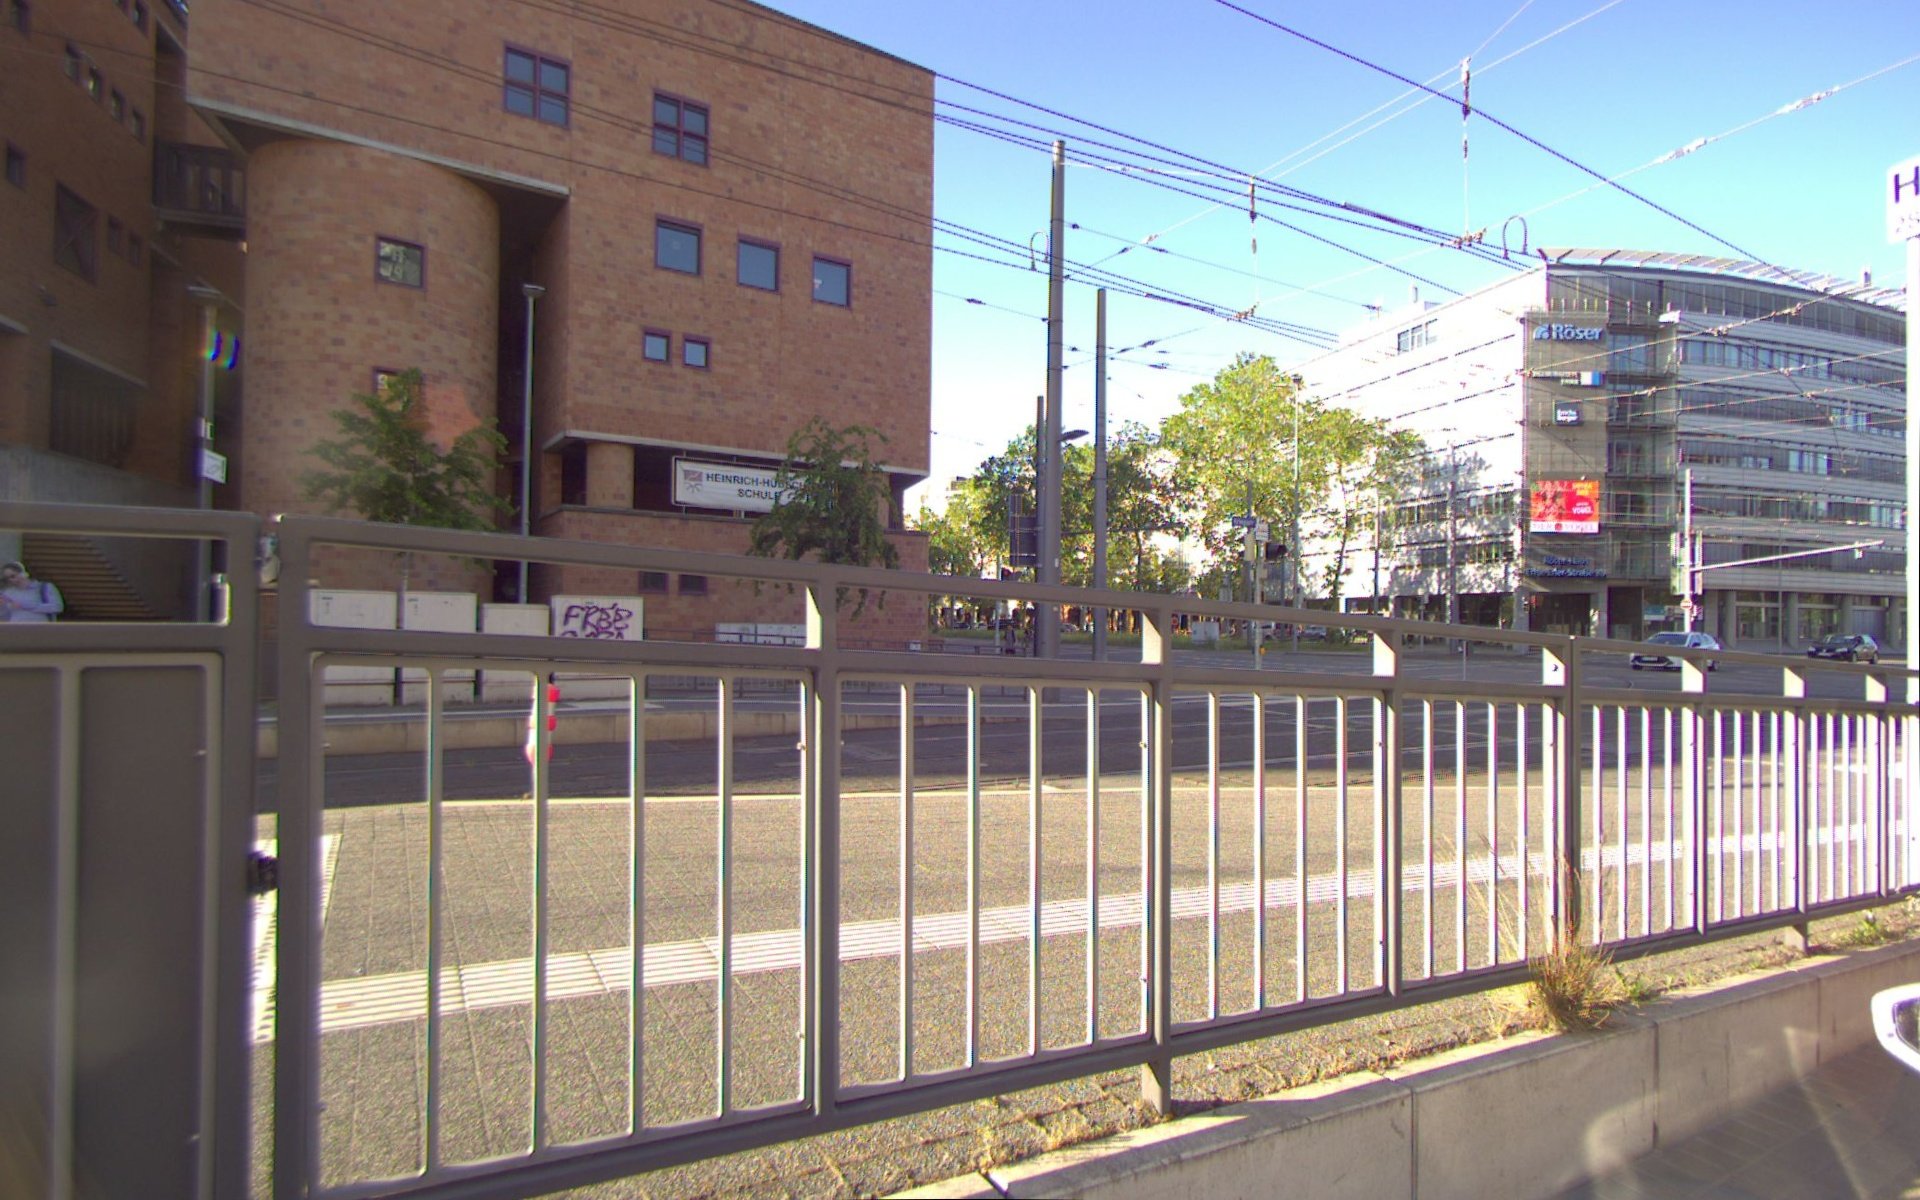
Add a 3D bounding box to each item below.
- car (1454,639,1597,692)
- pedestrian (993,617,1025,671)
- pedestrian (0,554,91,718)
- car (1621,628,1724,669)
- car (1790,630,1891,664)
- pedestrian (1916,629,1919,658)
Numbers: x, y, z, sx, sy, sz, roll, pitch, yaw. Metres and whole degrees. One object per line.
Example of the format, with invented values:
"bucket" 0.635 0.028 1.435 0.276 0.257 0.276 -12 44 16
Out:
"car" 13.710 1.556 24.402 2.841 1.077 1.238 2 0 40
"pedestrian" 1.598 1.421 32.584 0.785 1.714 0.587 2 0 -29
"pedestrian" -9.686 0.367 10.580 0.679 1.656 0.662 2 0 -34
"car" 27.266 1.808 38.411 4.484 1.449 1.814 1 -1 -35
"car" 42.675 2.273 48.687 4.175 1.449 1.823 2 0 -19
"pedestrian" 68.659 3.103 71.517 0.745 2.040 0.627 2 0 -30
